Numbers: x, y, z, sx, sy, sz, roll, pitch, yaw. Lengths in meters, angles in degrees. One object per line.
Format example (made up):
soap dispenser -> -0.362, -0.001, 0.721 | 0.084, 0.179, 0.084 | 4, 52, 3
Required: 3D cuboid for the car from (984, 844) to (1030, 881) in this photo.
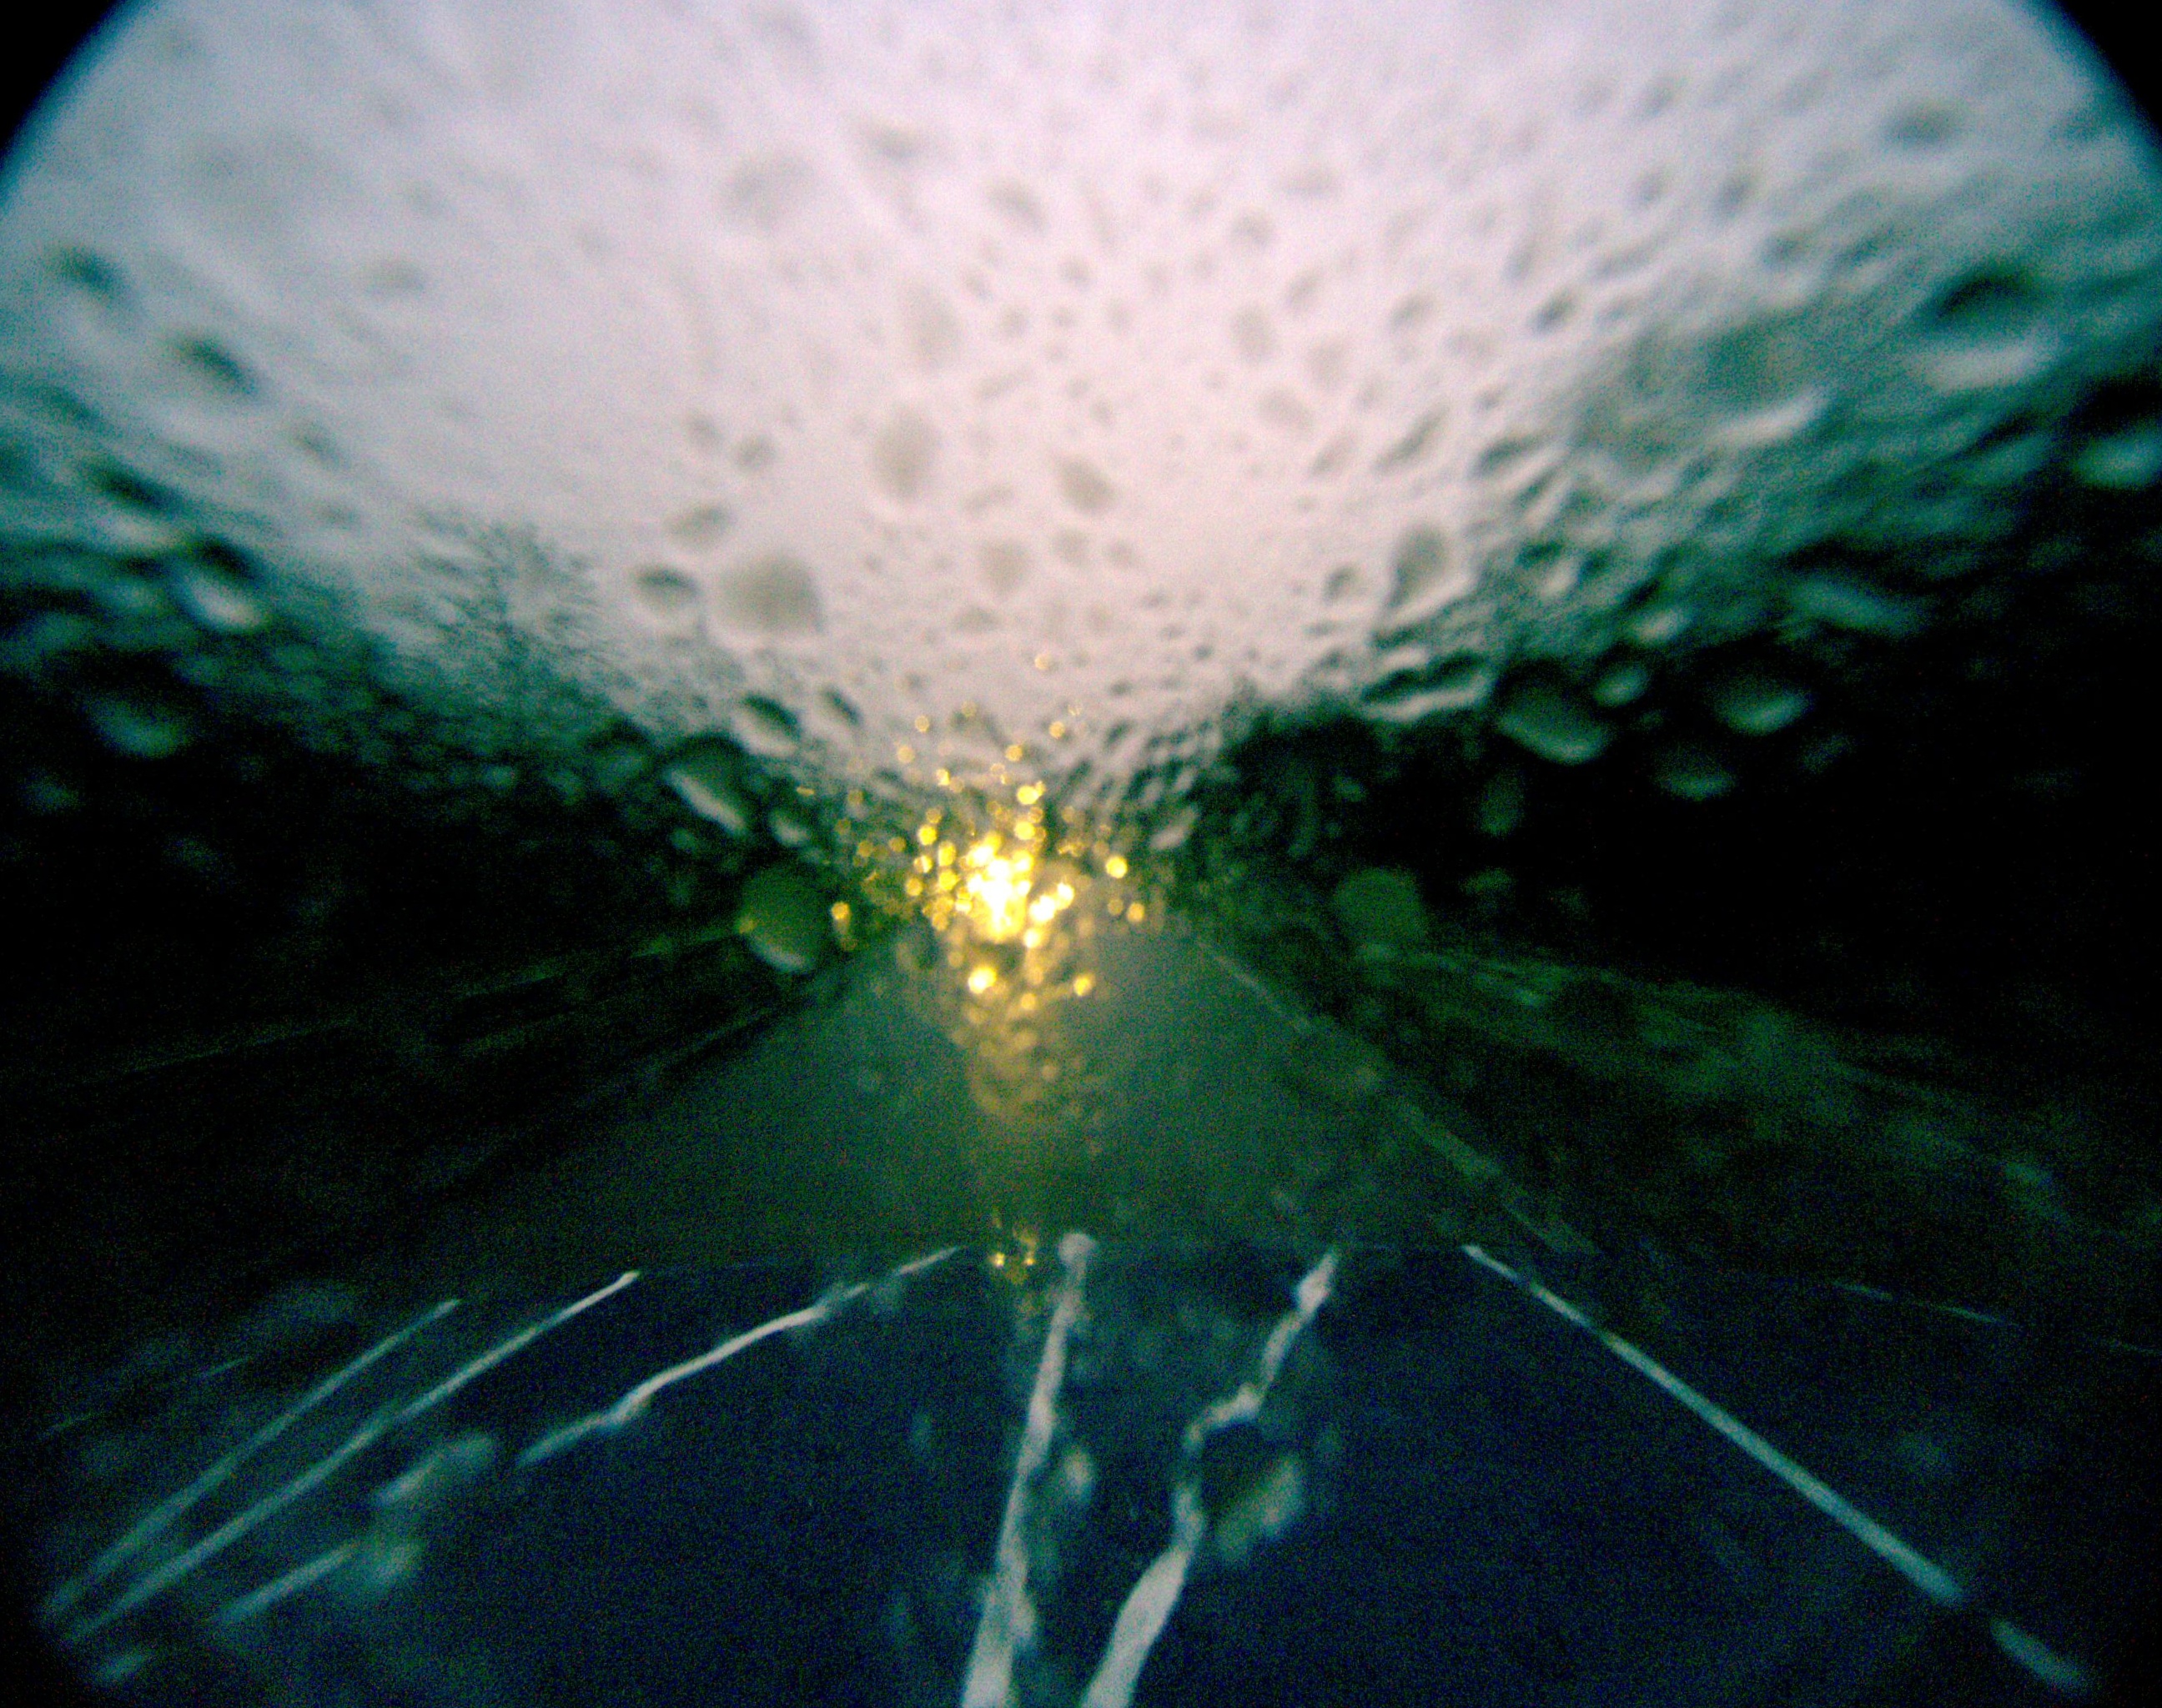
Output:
car -> -4.193, 0.516, 42.623 | 2.001, 2.001, 3.960 | 0, -2, -14
